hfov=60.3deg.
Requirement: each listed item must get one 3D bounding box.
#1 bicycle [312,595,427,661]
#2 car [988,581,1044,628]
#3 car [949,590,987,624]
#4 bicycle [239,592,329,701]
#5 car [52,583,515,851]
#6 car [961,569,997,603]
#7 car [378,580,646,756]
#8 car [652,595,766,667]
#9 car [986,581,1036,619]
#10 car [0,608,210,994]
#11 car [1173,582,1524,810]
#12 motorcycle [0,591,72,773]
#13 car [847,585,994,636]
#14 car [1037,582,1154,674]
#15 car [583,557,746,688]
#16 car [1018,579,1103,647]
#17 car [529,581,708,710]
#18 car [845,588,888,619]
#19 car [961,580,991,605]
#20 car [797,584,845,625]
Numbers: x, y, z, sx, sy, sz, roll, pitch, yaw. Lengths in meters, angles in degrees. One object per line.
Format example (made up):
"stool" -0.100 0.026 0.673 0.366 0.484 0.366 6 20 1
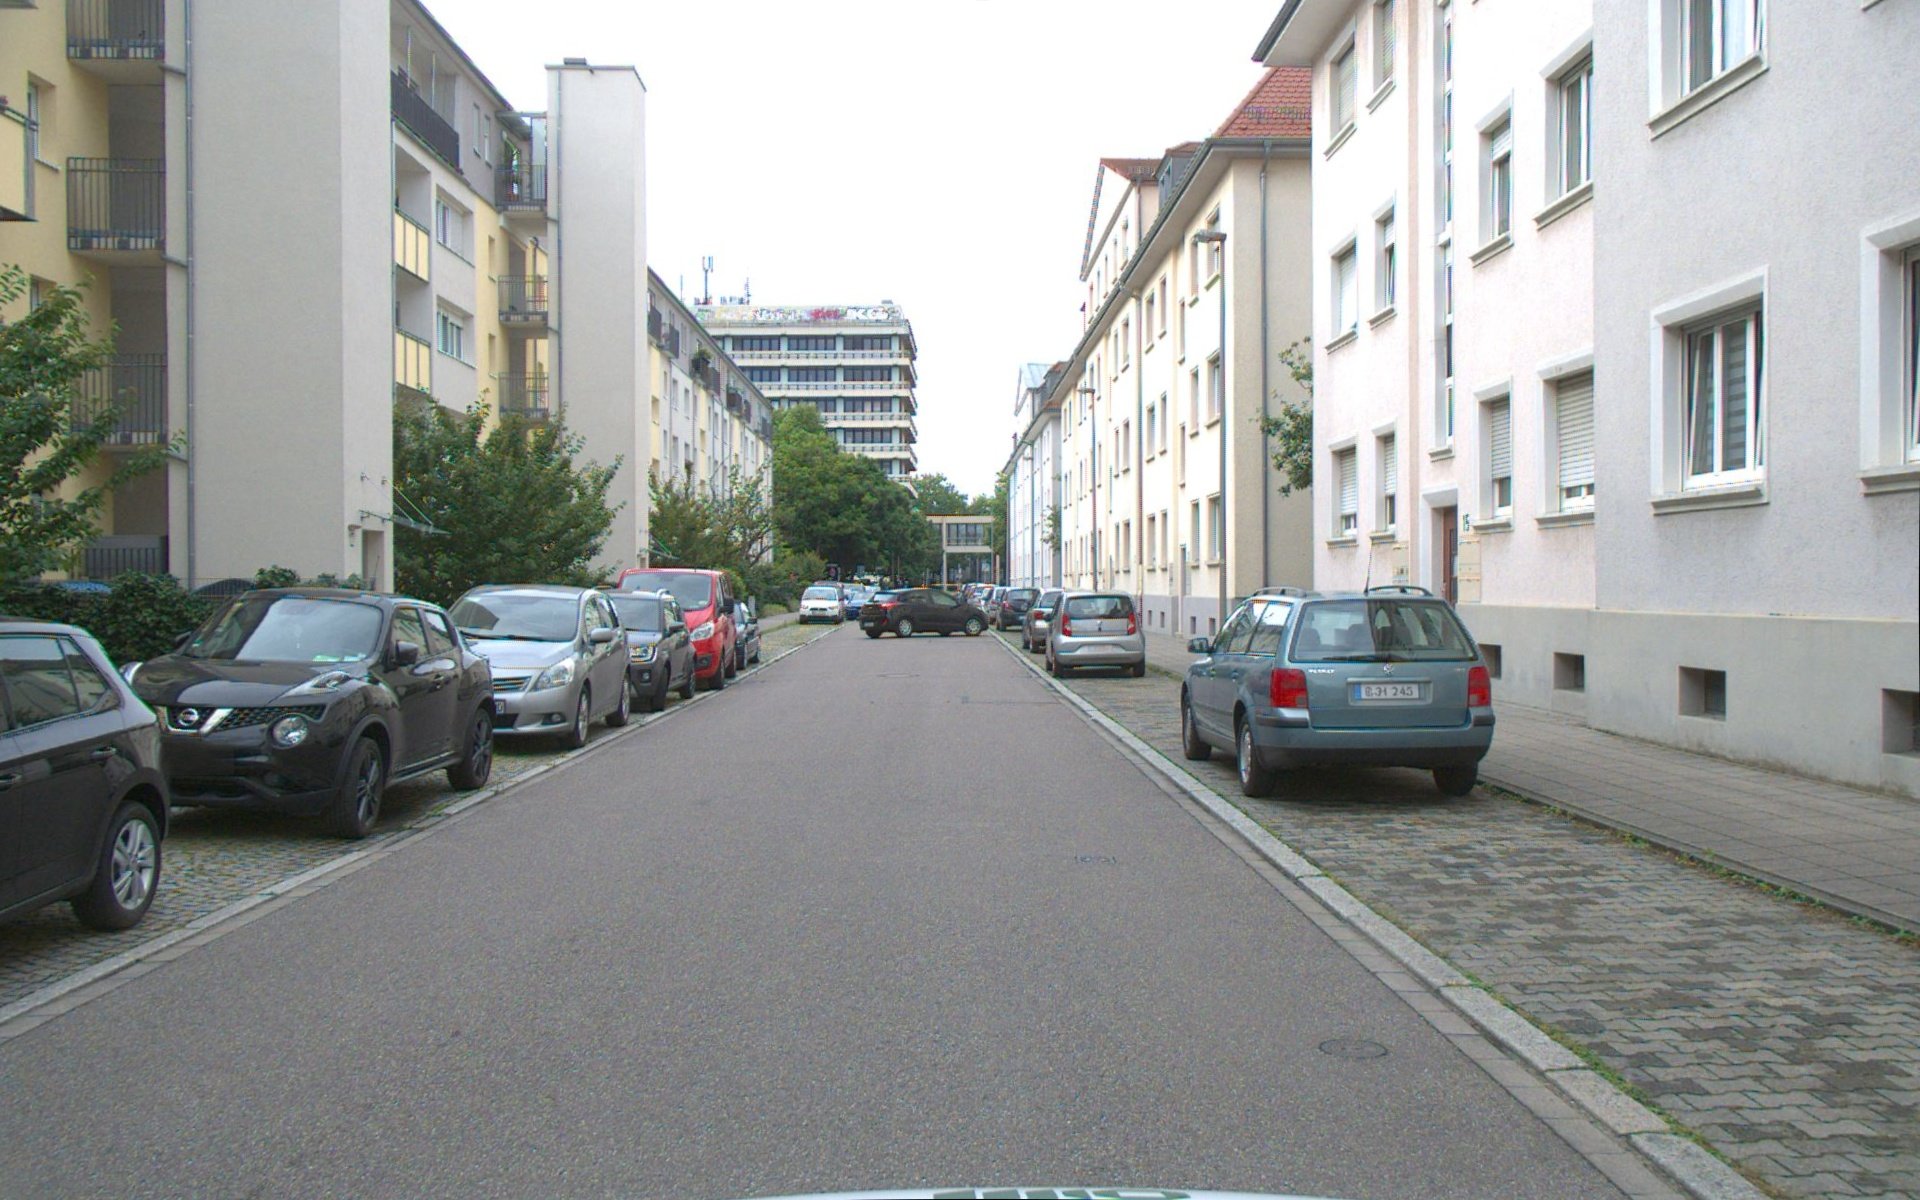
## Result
"bicycle" -10.440 0.494 29.285 1.798 1.138 0.604 1 0 -3
"car" 1.875 0.128 56.619 1.690 1.544 4.060 -1 1 -1
"car" 0.360 0.320 77.324 1.690 1.502 4.504 1 0 -1
"bicycle" -7.884 0.516 19.344 0.541 1.212 1.725 -1 0 -8
"car" -4.582 0.689 11.866 1.619 1.557 3.895 2 0 1
"car" 0.983 -0.760 85.991 1.783 1.671 4.091 -1 1 0
"car" -4.666 0.622 17.963 1.798 1.597 4.859 2 0 -3
"car" -5.151 0.592 34.417 1.832 1.346 4.360 1 0 -2
"car" 2.040 -0.015 67.050 1.811 1.475 3.832 -1 1 -1
"car" -4.566 0.796 6.371 1.610 1.463 3.856 2 0 -1
"car" 2.867 0.613 13.143 1.690 1.494 4.263 -1 1 -1
"motorcycle" -7.545 0.613 12.051 0.851 1.329 2.419 1 1 -1
"car" -1.158 0.286 49.966 4.191 1.458 1.883 -1 0 -39
"car" 2.372 0.446 29.838 1.690 1.518 4.060 -1 1 -1
"car" -4.938 0.341 28.362 2.109 1.988 4.919 2 0 -3
"car" 2.377 0.278 40.009 1.690 1.544 4.060 -1 1 -1
"car" -4.665 0.565 23.121 1.686 1.597 4.053 2 0 -1
"car" -4.526 0.156 80.386 1.807 1.476 4.501 1 0 0
"car" 1.001 -0.479 102.673 1.783 1.529 4.091 -1 1 0
"car" -5.767 0.165 69.014 1.686 1.597 3.869 2 0 -1
